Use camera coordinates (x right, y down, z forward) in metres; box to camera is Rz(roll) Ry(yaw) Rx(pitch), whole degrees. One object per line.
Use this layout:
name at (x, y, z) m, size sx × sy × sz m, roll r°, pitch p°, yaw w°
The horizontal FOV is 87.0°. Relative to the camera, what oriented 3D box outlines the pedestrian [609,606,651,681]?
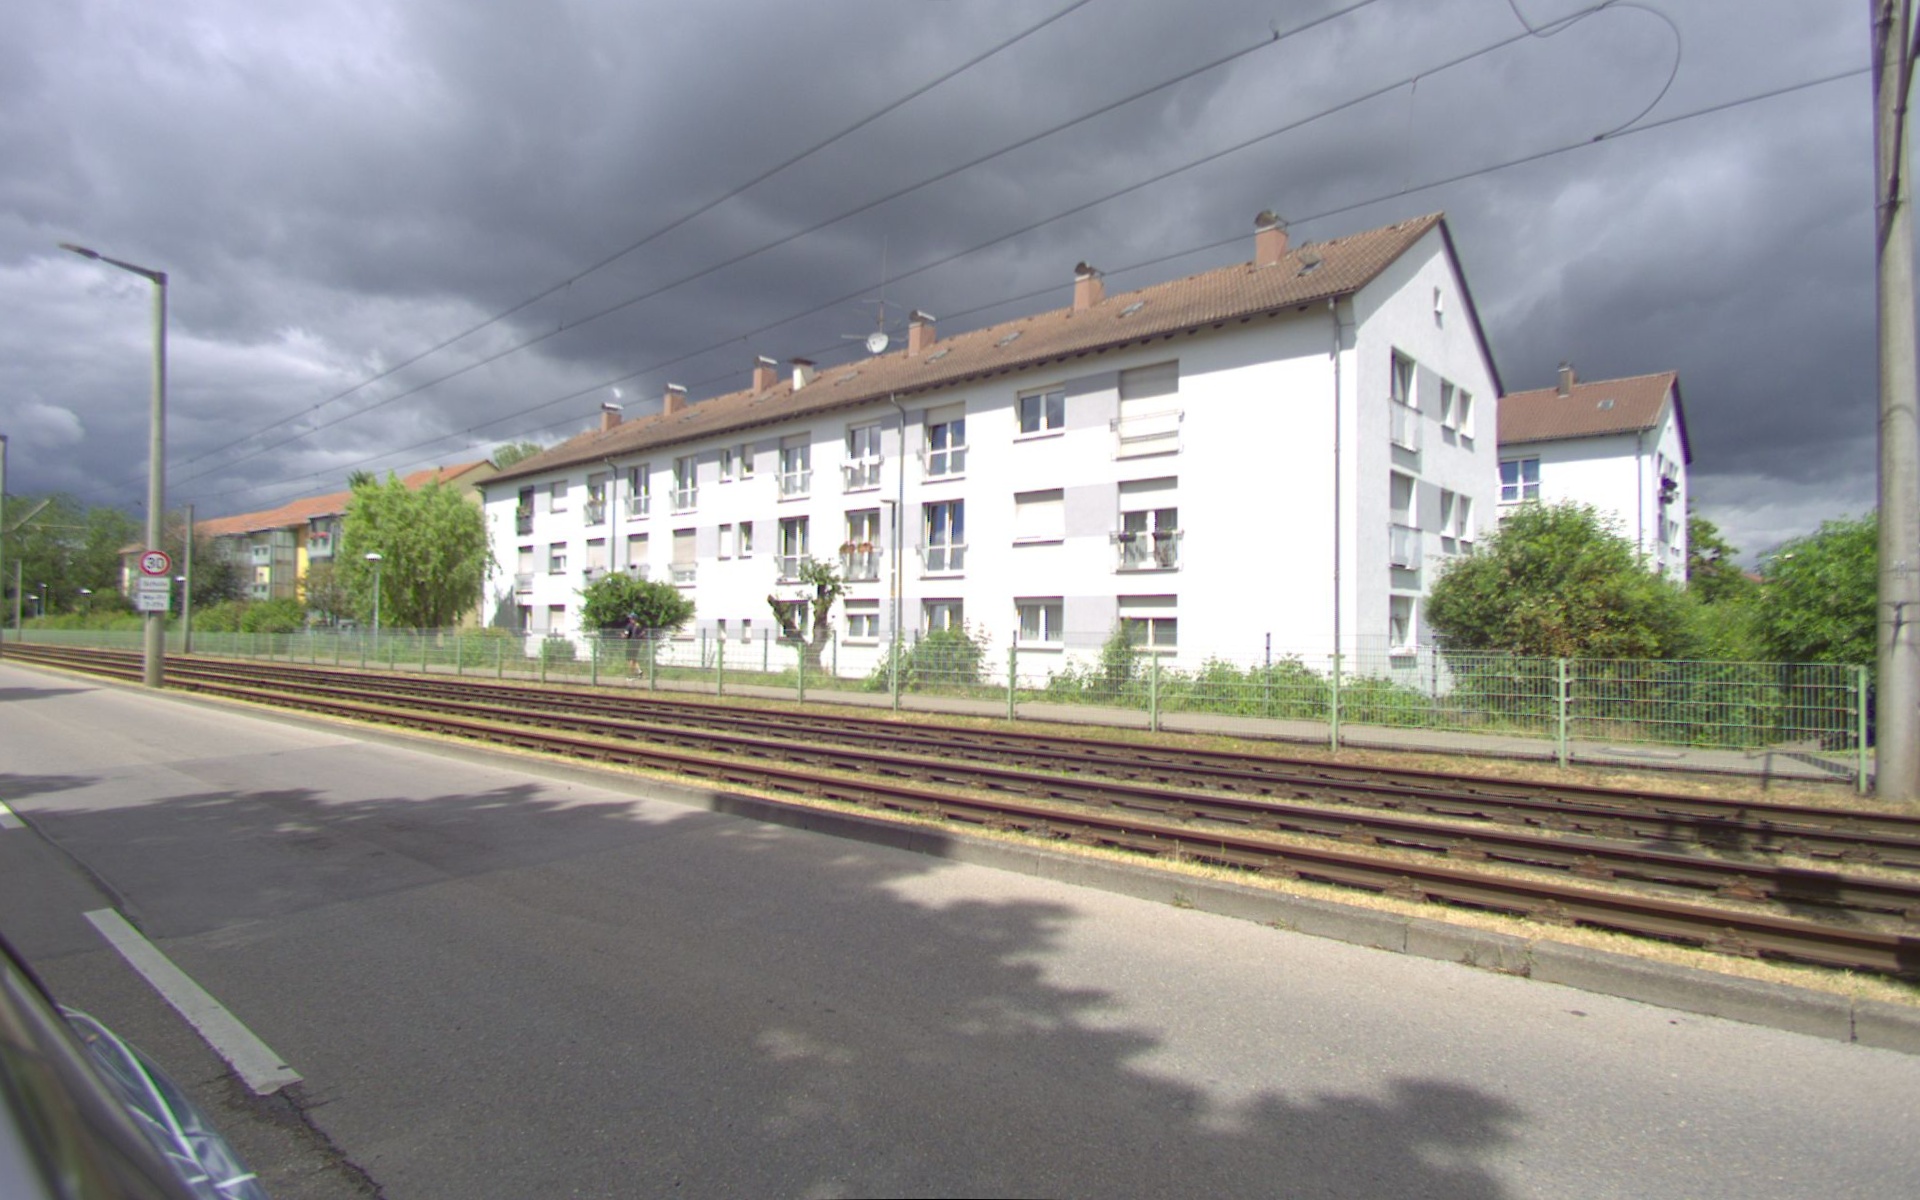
pedestrian at (-8.371, 1.094, 25.685) m, size 0.768 × 1.863 × 0.652 m, roll -2°, pitch -4°, yaw 41°
